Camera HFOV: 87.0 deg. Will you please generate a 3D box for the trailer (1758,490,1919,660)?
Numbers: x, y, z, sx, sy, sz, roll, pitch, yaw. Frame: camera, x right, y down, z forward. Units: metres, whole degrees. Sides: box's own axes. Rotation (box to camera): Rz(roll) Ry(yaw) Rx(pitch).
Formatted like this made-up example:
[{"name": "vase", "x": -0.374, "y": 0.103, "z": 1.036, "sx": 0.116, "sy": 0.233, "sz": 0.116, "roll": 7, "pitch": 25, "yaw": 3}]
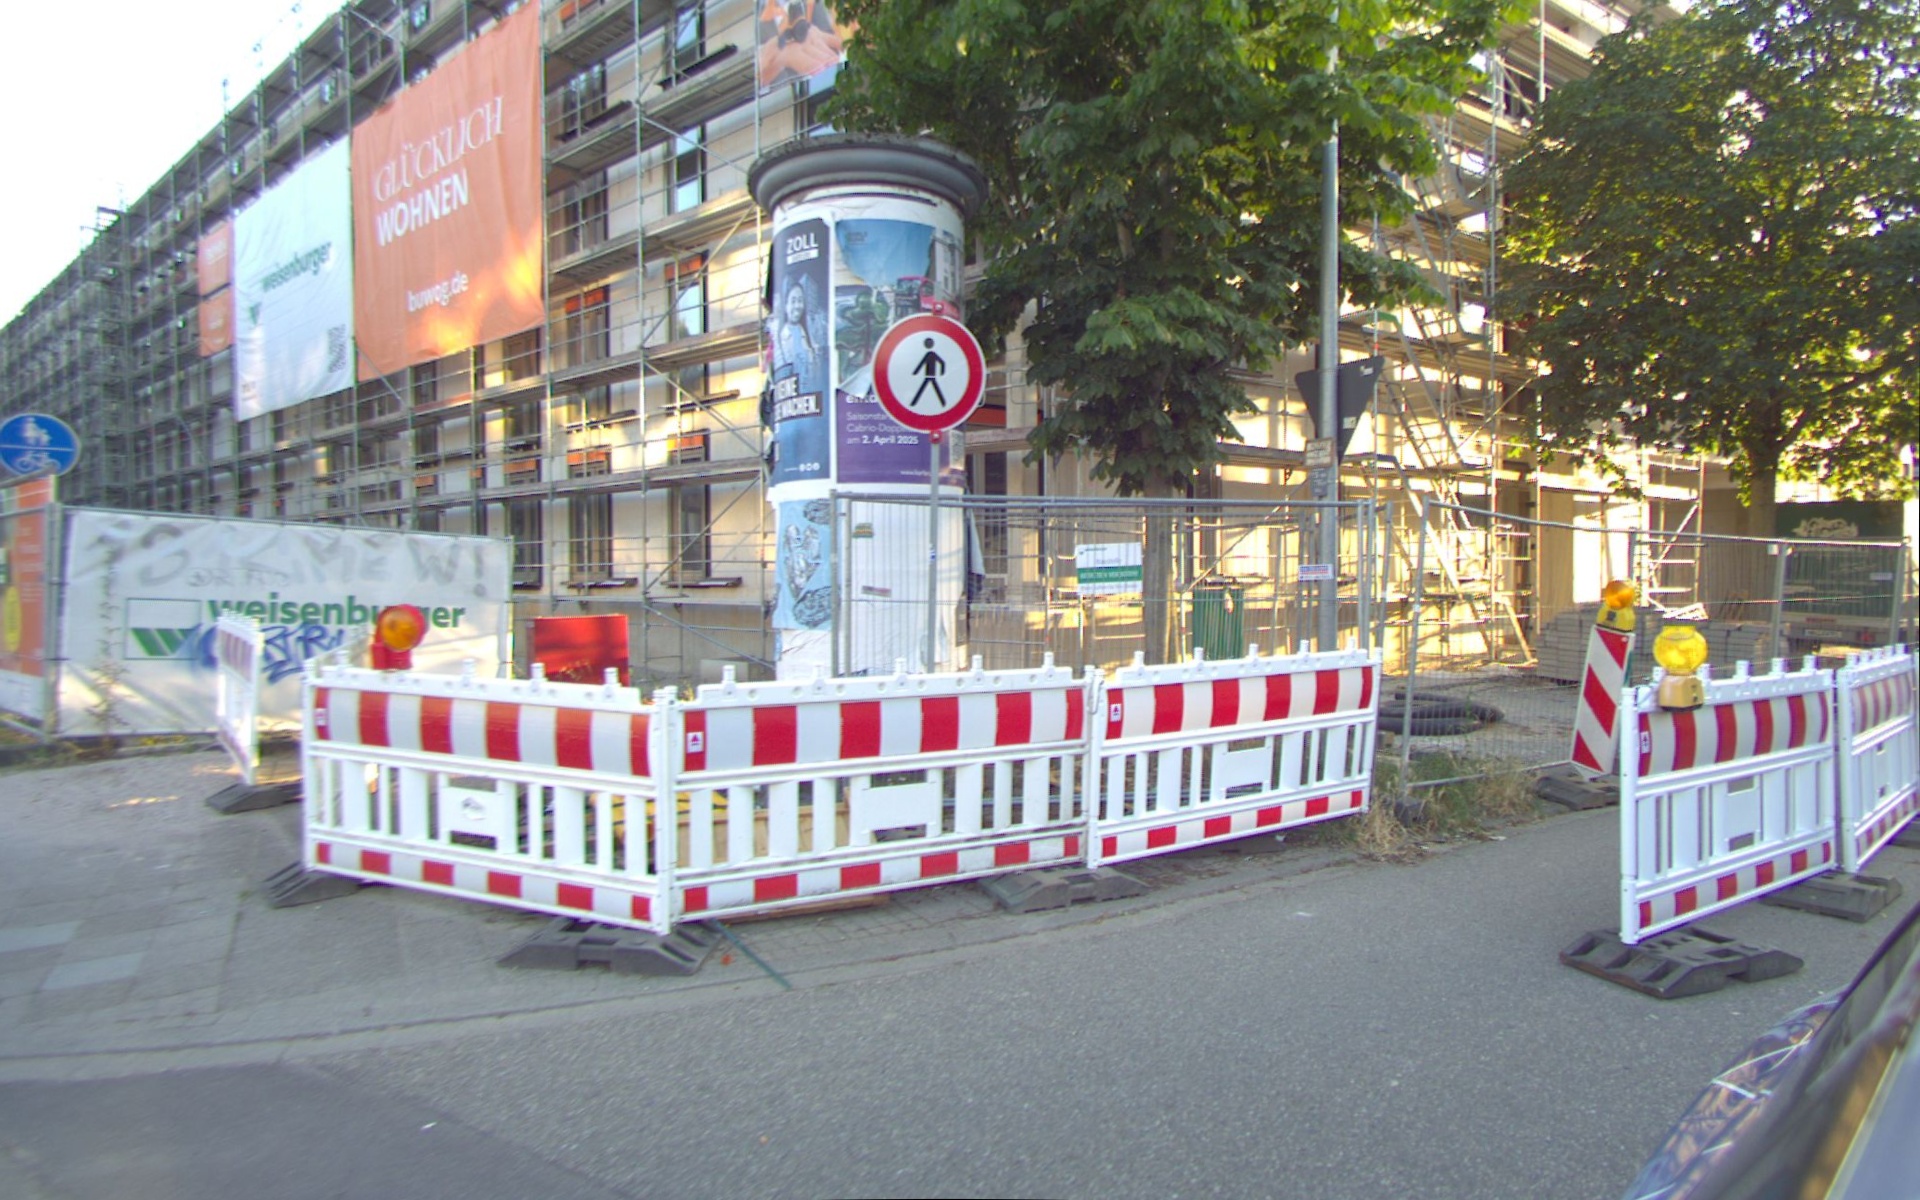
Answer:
[{"name": "trailer", "x": 15.666, "y": -0.438, "z": 17.258, "sx": 4.104, "sy": 2.571, "sz": 2.001, "roll": -1, "pitch": 1, "yaw": -32}]
